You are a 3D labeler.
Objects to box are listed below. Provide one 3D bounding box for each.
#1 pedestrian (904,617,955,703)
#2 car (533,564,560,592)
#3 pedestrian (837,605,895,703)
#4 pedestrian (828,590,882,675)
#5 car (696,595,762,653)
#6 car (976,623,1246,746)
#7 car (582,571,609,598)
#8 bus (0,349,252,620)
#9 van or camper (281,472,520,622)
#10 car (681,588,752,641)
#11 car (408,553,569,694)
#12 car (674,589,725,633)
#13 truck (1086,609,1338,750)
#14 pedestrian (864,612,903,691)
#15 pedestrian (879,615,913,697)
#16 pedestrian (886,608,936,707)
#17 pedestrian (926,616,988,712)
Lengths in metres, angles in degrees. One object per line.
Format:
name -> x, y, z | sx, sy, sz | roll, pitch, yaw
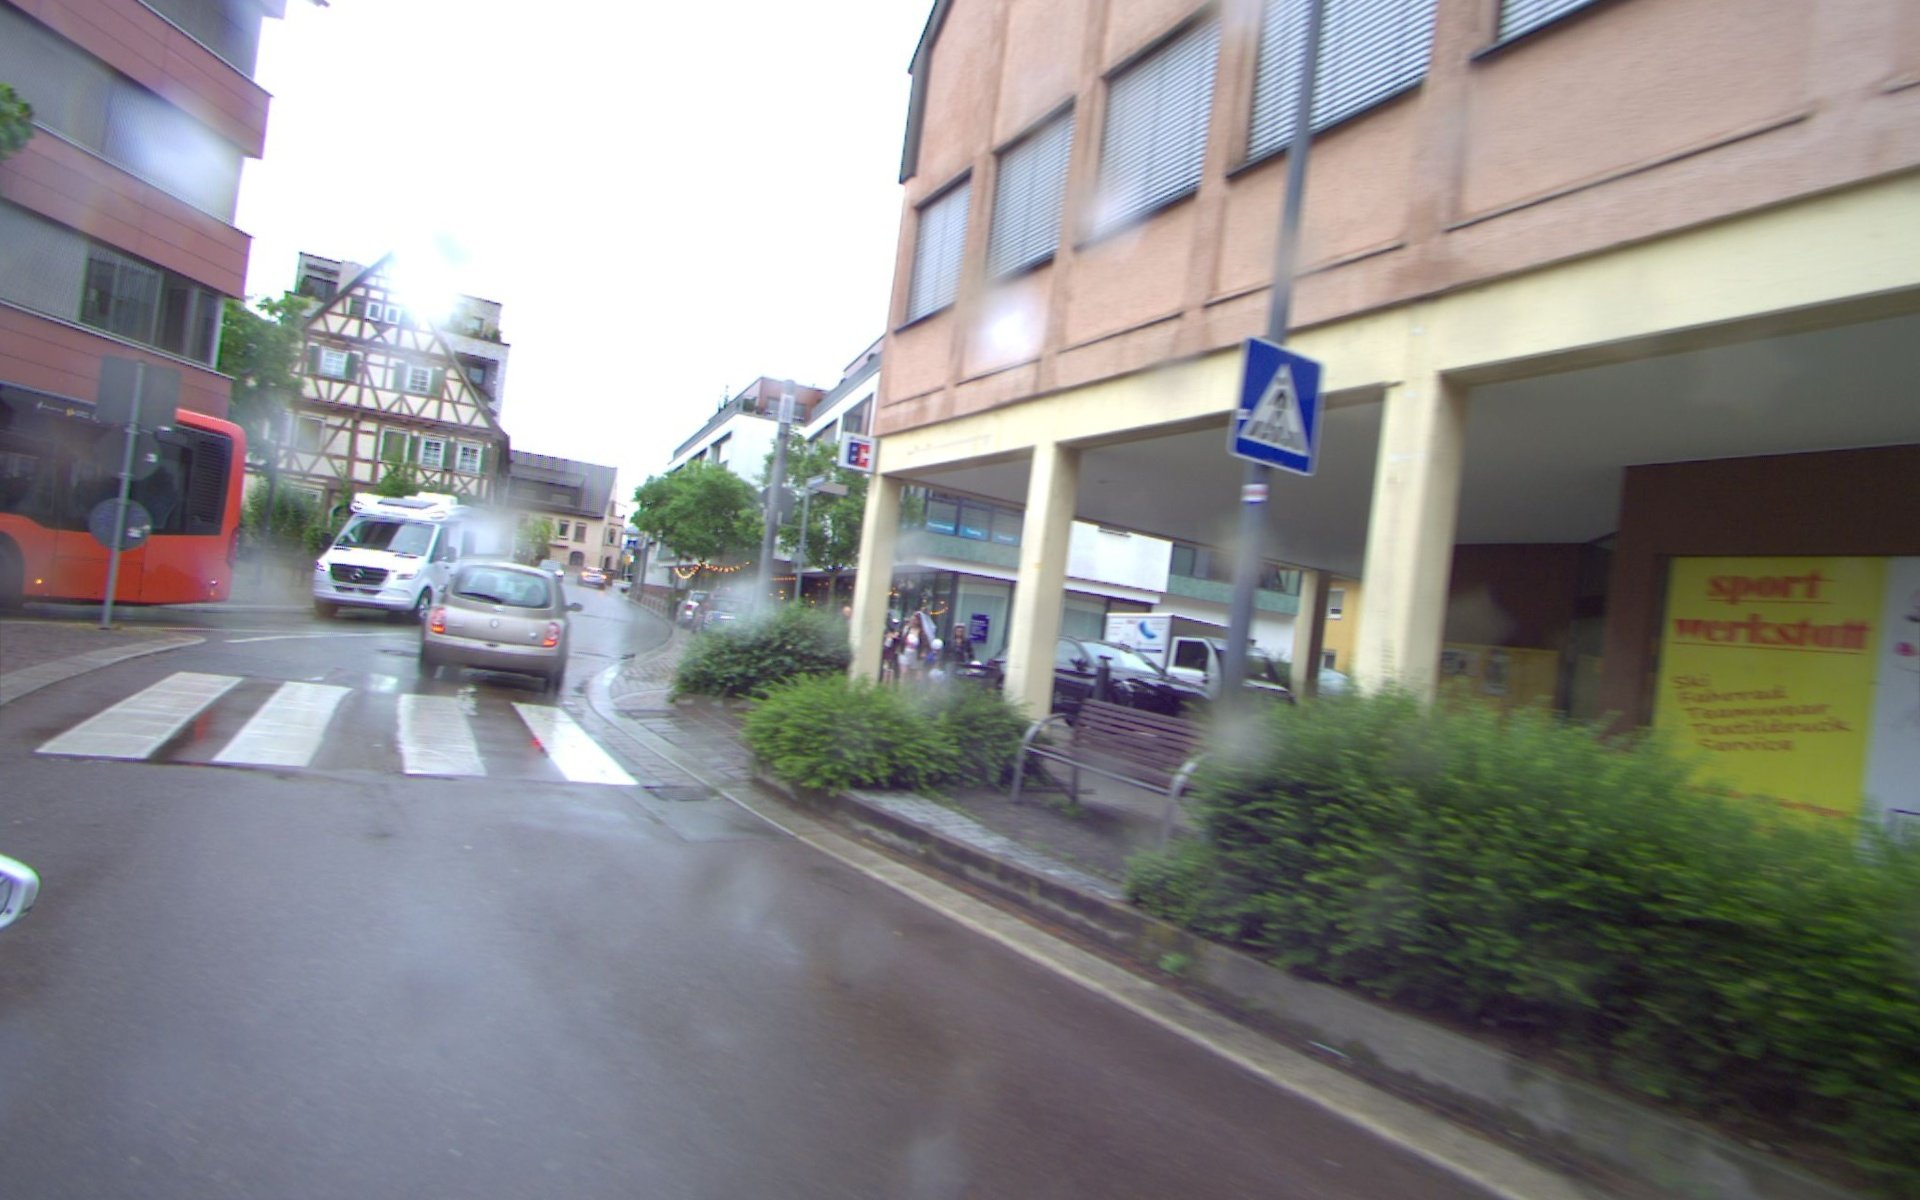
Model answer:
pedestrian -> -0.657, 1.272, 21.469 | 0.628, 1.709, 0.738 | 7, -1, -27
car -> -30.059, -1.596, 73.083 | 1.571, 1.732, 3.304 | 8, -2, -23
pedestrian -> -1.734, 0.977, 18.454 | 0.688, 1.681, 0.817 | 7, -1, -20
pedestrian -> -2.340, 0.714, 22.328 | 0.727, 1.769, 0.886 | 7, -1, -28
car -> -6.680, 0.652, 28.855 | 1.518, 1.378, 3.363 | 8, -2, -16
car -> 2.133, 1.216, 15.570 | 1.748, 1.291, 4.441 | 8, -2, -28
car -> -26.956, -1.142, 74.385 | 1.657, 1.732, 3.306 | 8, -2, -21
bus -> -13.236, -1.639, 10.281 | 2.768, 3.125, 10.618 | 5, -2, 12
van or camper -> -12.394, -1.013, 23.037 | 2.405, 2.616, 6.741 | 8, -1, -10
car -> -8.297, 0.449, 34.086 | 1.607, 1.519, 3.978 | 5, 0, -23
car -> -6.138, 0.254, 13.400 | 1.506, 1.488, 3.326 | 8, -1, -20
car -> -10.165, 0.385, 39.056 | 1.596, 1.431, 3.985 | 5, 0, -18
truck -> 4.096, 1.249, 17.002 | 1.749, 1.829, 3.972 | 8, -2, -28
pedestrian -> -1.712, 1.156, 22.601 | 0.535, 1.683, 0.517 | 7, -1, -26
pedestrian -> -1.255, 1.094, 19.788 | 0.489, 1.527, 0.491 | 7, 0, -1
pedestrian -> -0.903, 1.047, 18.524 | 0.712, 1.709, 0.733 | 7, -1, -3
pedestrian -> -0.044, 1.185, 18.819 | 0.949, 1.658, 0.735 | 7, -1, 3
